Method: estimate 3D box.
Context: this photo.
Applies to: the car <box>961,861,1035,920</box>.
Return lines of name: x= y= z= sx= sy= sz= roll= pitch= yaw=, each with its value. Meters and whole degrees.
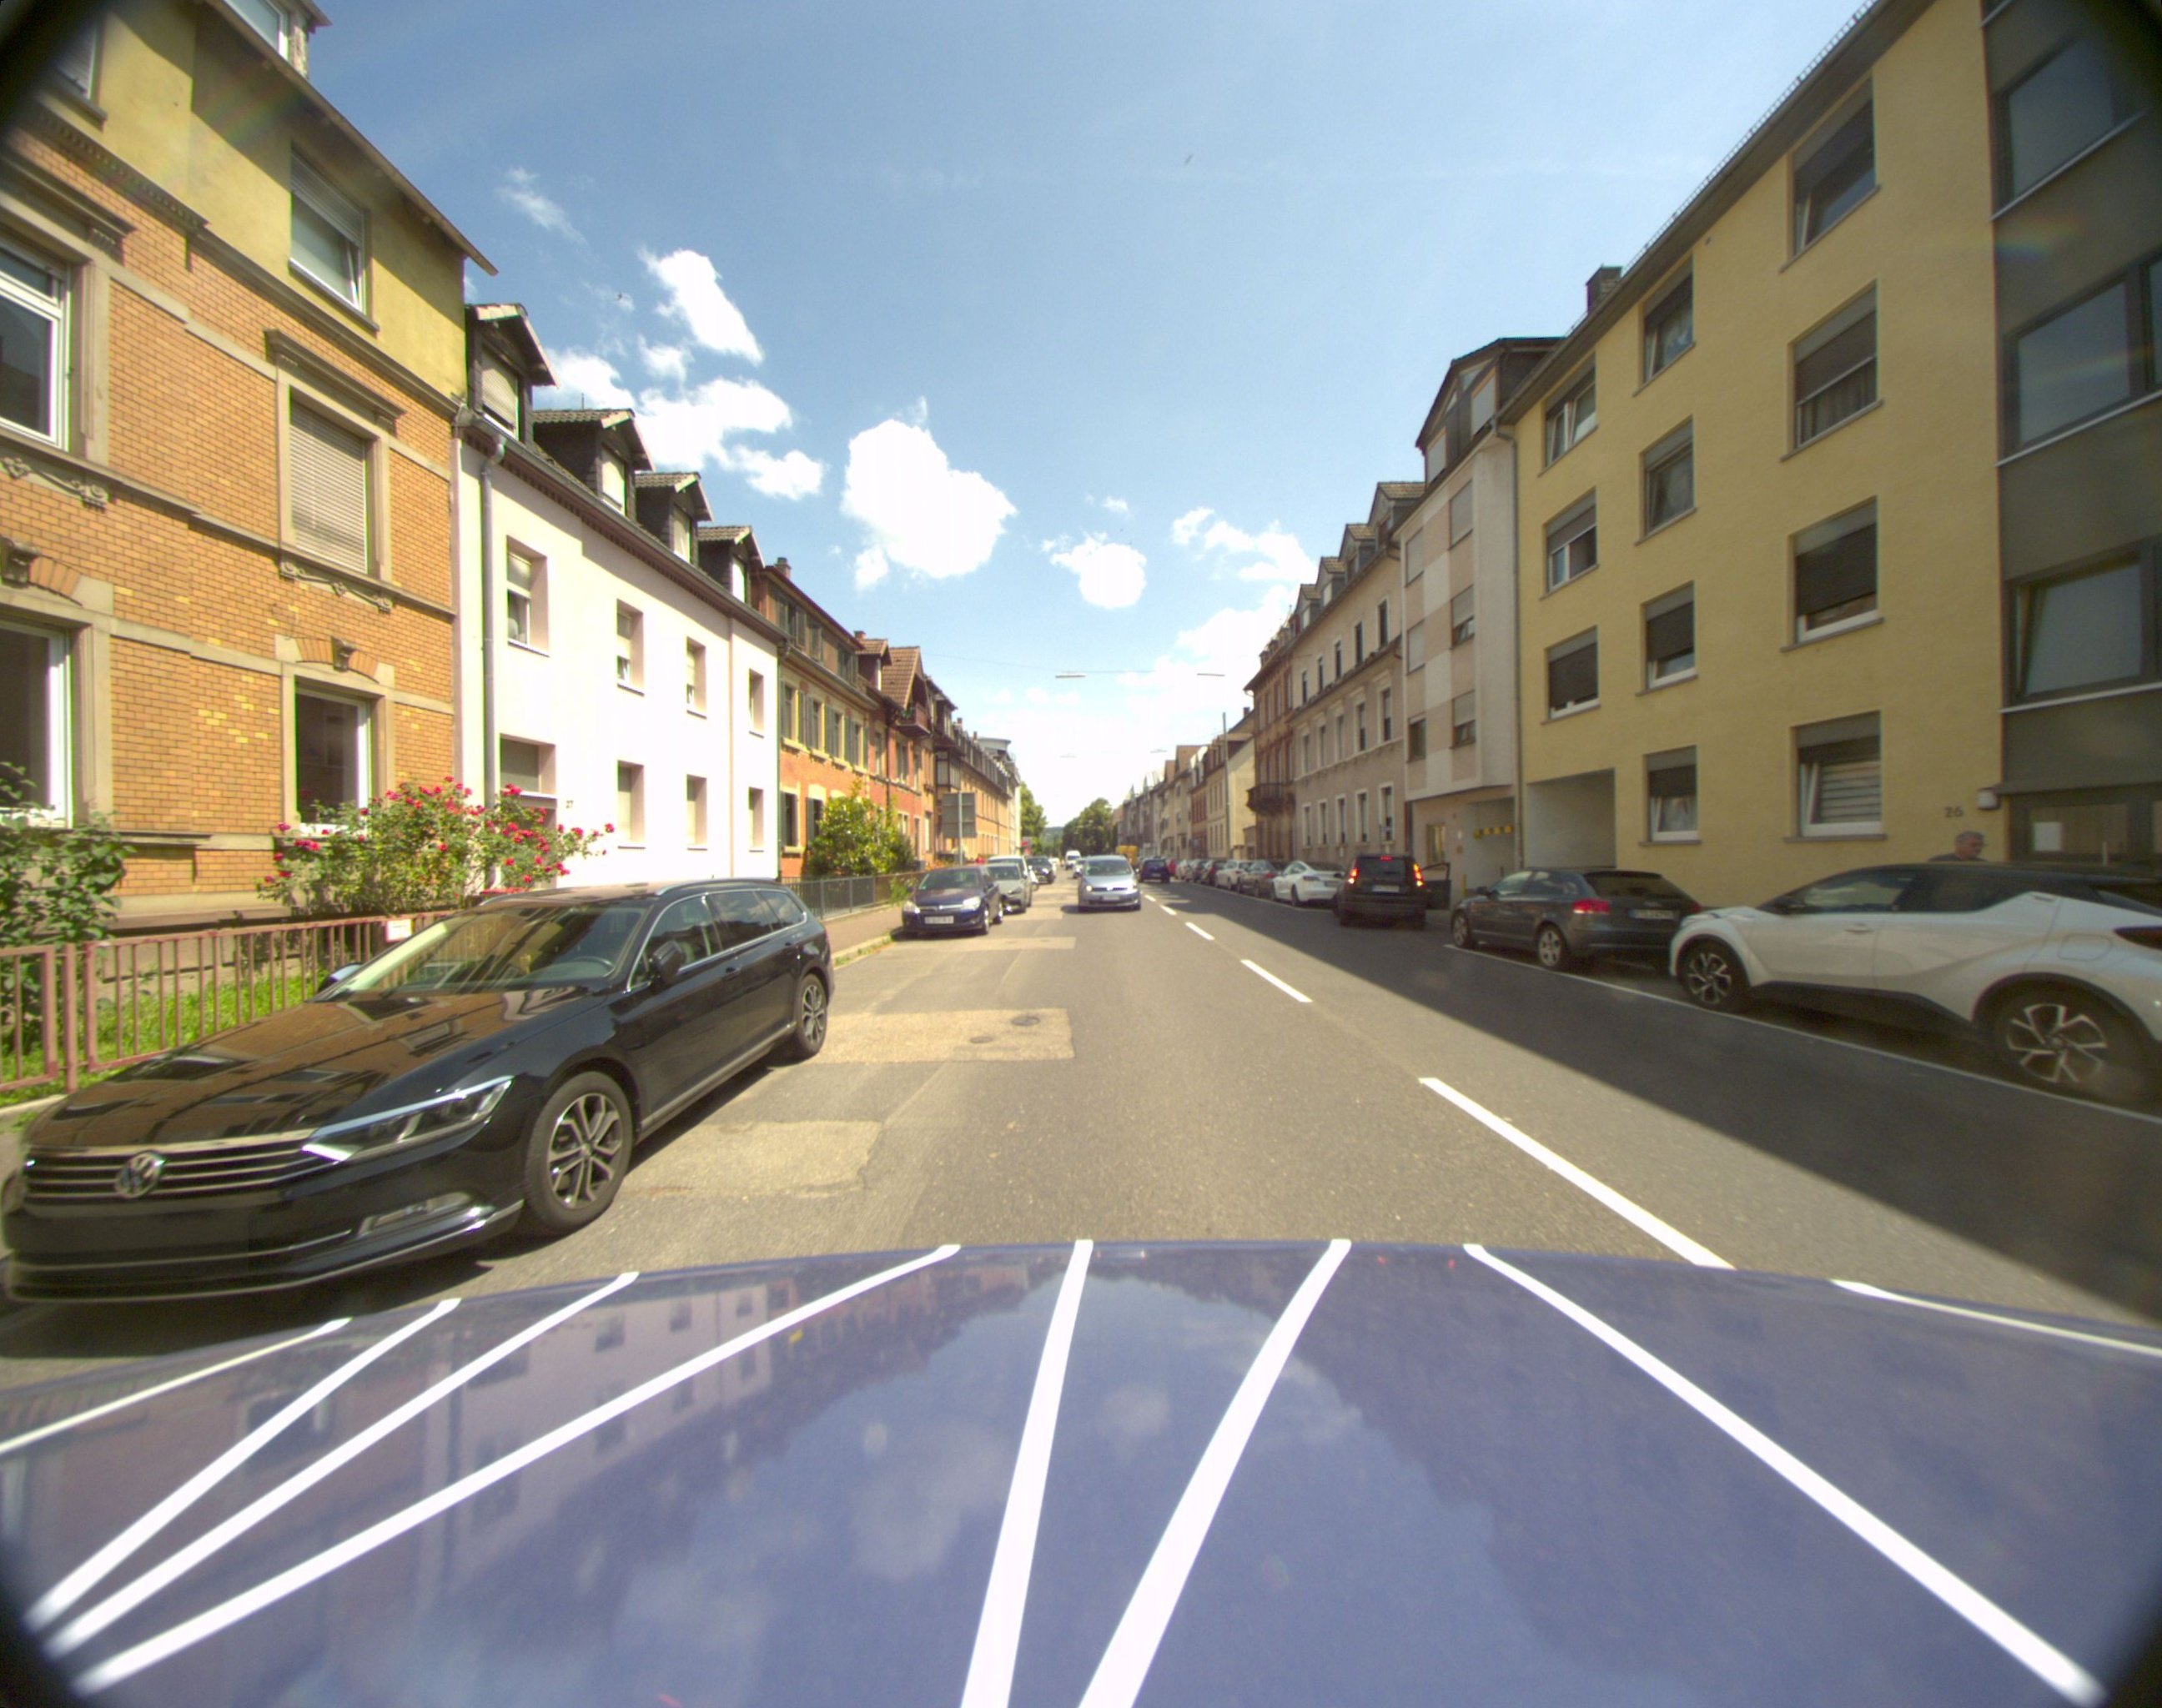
car: x=-2.388 y=1.016 z=22.739 sx=1.708 sy=1.470 sz=3.931 roll=-3 pitch=0 yaw=0

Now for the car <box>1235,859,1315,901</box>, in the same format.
car: x=7.371 y=0.954 z=29.366 sx=1.749 sy=1.402 sz=4.512 roll=2 pitch=0 yaw=-2

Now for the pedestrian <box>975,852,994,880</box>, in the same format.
pedestrian: x=-6.477 y=0.828 z=51.022 sx=1.056 sy=1.851 sz=0.981 roll=-1 pitch=0 yaw=1

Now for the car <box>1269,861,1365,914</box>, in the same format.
car: x=7.306 y=0.976 z=23.953 sx=1.749 sy=1.402 sz=4.285 roll=2 pitch=0 yaw=2

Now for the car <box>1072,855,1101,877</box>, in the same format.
car: x=0.438 y=0.831 z=55.624 sx=1.904 sy=1.489 sz=4.488 roll=-1 pitch=0 yaw=2

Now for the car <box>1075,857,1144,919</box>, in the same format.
car: x=0.777 y=0.890 z=21.835 sx=1.758 sy=1.559 sz=4.000 roll=-2 pitch=0 yaw=1

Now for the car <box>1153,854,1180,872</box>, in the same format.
car: x=7.258 y=0.727 z=64.699 sx=1.665 sy=1.402 sz=4.103 roll=2 pitch=0 yaw=-3

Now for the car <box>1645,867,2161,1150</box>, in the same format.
car: x=7.098 y=0.947 z=6.120 sx=1.869 sy=1.542 sz=4.313 roll=2 pitch=0 yaw=0

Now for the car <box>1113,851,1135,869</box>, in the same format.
car: x=3.854 y=0.527 z=68.791 sx=1.810 sy=1.522 sz=4.000 roll=1 pitch=0 yaw=1

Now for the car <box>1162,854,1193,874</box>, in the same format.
car: x=7.479 y=0.778 z=59.092 sx=1.665 sy=1.402 sz=4.103 roll=2 pitch=0 yaw=-3

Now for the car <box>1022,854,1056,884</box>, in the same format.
car: x=-2.472 y=0.879 z=45.268 sx=1.708 sy=1.618 sz=3.931 roll=-3 pitch=0 yaw=0

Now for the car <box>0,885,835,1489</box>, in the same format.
car: x=-3.022 y=1.041 z=4.326 sx=1.762 sy=1.470 sz=4.418 roll=-3 pitch=0 yaw=-1

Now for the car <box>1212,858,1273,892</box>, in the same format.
car: x=7.515 y=0.936 z=35.717 sx=1.749 sy=1.402 sz=4.103 roll=2 pitch=0 yaw=-3

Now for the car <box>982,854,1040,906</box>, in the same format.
car: x=-2.540 y=0.899 z=28.341 sx=1.708 sy=1.700 sz=3.931 roll=-3 pitch=0 yaw=0

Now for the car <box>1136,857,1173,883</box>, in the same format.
car: x=4.326 y=0.894 z=45.065 sx=1.810 sy=1.425 sz=4.000 roll=1 pitch=0 yaw=1

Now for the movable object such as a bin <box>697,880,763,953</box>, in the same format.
movable object such as a bin: x=-6.247 y=1.093 z=13.578 sx=0.753 sy=1.234 sz=0.877 roll=-1 pitch=0 yaw=0

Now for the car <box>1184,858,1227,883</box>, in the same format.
car: x=7.629 y=0.985 z=46.837 sx=1.749 sy=1.402 sz=4.103 roll=2 pitch=0 yaw=-3

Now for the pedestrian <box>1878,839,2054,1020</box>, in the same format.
pedestrian: x=9.044 y=0.731 z=7.815 sx=0.804 sy=1.745 sz=0.876 roll=-1 pitch=0 yaw=9

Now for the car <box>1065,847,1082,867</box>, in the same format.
car: x=-0.933 y=0.378 z=90.024 sx=1.905 sy=2.261 sz=5.671 roll=-1 pitch=0 yaw=0

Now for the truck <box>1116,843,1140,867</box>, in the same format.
truck: x=5.622 y=0.143 z=91.486 sx=2.323 sy=2.724 sz=8.068 roll=-1 pitch=0 yaw=0

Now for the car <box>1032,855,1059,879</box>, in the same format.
car: x=-2.534 y=0.907 z=54.842 sx=1.708 sy=1.618 sz=3.931 roll=-3 pitch=0 yaw=0

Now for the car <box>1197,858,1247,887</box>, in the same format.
car: x=7.595 y=0.957 z=41.335 sx=1.749 sy=1.402 sz=4.103 roll=2 pitch=0 yaw=-3

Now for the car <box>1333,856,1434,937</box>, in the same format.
car: x=6.880 y=0.886 z=17.648 sx=1.746 sy=1.579 sz=3.958 roll=2 pitch=0 yaw=16

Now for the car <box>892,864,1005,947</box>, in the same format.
car: x=-2.760 y=1.031 z=16.702 sx=1.708 sy=1.470 sz=3.931 roll=-3 pitch=0 yaw=0

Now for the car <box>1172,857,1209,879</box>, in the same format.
car: x=7.551 y=0.939 z=52.552 sx=1.749 sy=1.402 sz=4.103 roll=2 pitch=0 yaw=-3

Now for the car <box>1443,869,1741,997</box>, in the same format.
car: x=7.095 y=0.994 z=11.123 sx=1.749 sy=1.402 sz=3.915 roll=2 pitch=0 yaw=2

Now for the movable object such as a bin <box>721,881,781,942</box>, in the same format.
movable object such as a bin: x=-6.248 y=1.075 z=14.421 sx=0.753 sy=1.091 sz=0.877 roll=-1 pitch=0 yaw=0
